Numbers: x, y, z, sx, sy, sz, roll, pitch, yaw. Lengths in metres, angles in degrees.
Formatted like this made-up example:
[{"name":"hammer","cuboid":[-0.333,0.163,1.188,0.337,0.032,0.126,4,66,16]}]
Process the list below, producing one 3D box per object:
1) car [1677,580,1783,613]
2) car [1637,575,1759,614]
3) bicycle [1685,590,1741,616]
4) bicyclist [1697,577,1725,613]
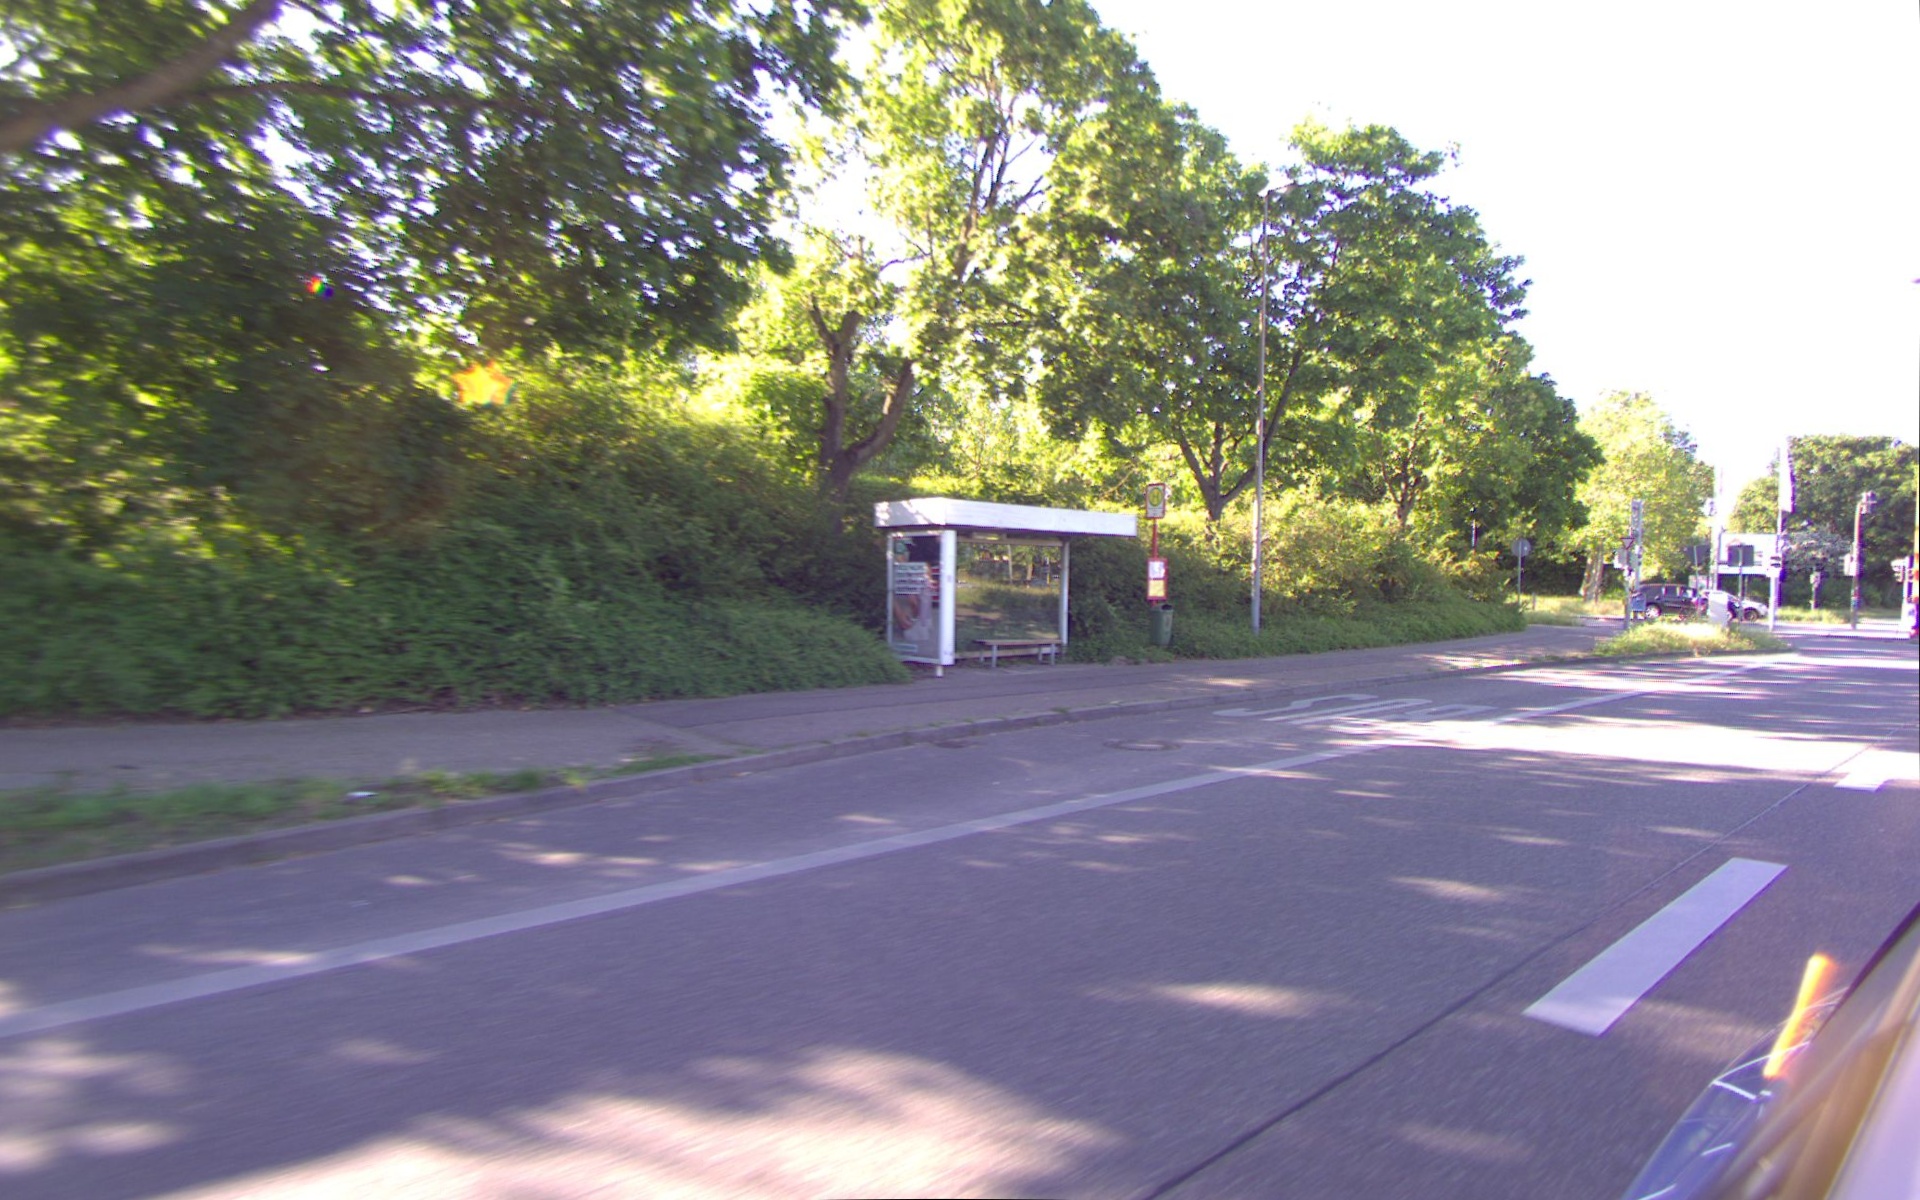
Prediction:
[{"name":"car","cuboid":[39.340,-0.197,51.820,4.059,1.558,1.754,2,1,31]},{"name":"car","cuboid":[35.975,-0.304,49.491,4.618,1.748,1.887,2,1,32]},{"name":"bicycle","cuboid":[34.508,0.121,46.379,2.006,1.105,0.755,3,2,39]},{"name":"bicyclist","cuboid":[34.454,-0.231,46.420,0.976,1.577,0.751,3,2,39]}]
